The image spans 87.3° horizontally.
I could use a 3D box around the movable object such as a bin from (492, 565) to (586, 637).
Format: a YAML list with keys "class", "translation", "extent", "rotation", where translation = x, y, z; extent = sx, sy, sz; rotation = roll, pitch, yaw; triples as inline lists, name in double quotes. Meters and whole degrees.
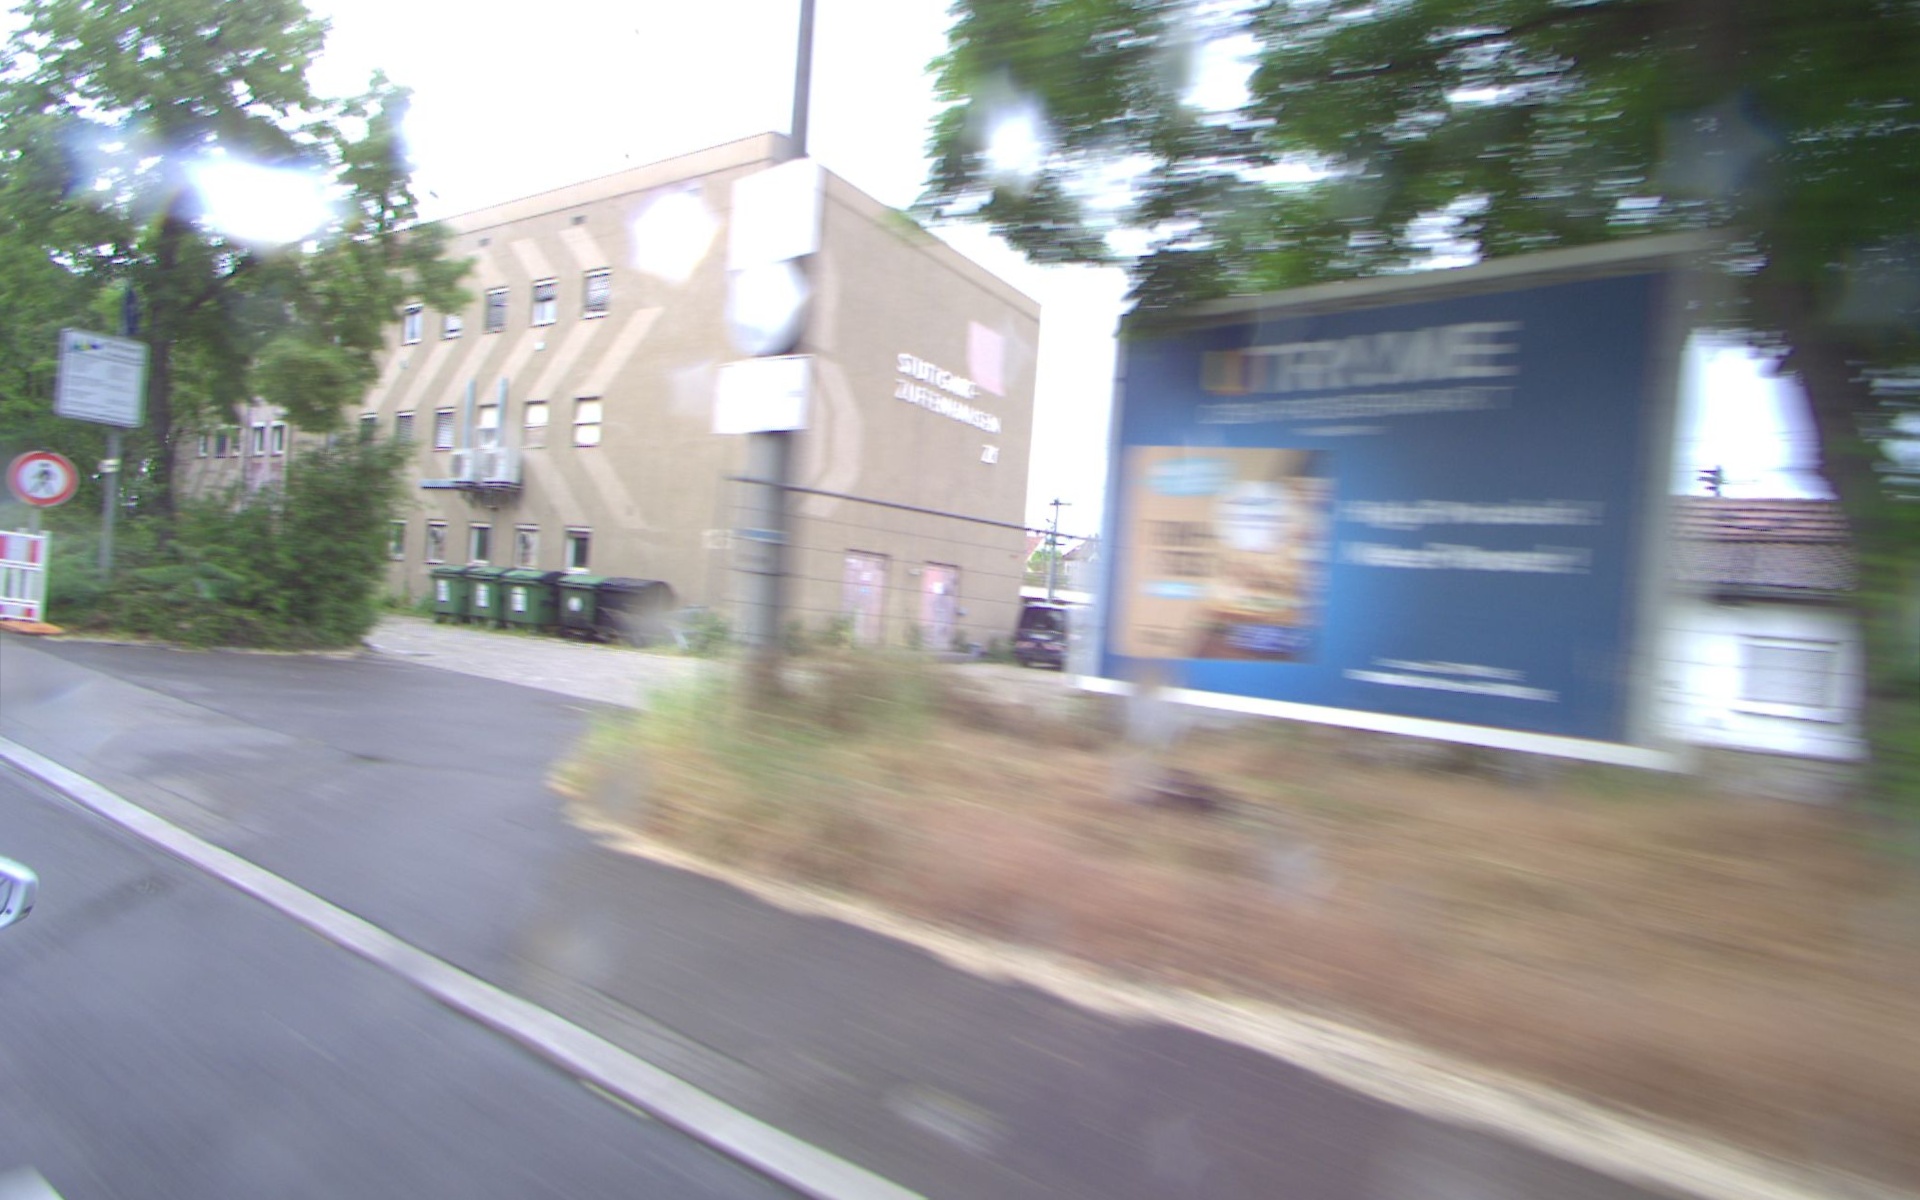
- class: "movable object such as a bin"
  translation: [-9.532, 0.028, 22.785]
  extent: [1.396, 1.434, 1.305]
  rotation: [7, 1, 34]

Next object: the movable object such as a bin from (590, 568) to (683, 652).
- class: "movable object such as a bin"
  translation: [-6.922, 0.217, 21.544]
  extent: [1.310, 1.607, 1.213]
  rotation: [7, 2, 34]

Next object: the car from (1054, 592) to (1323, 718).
- class: "car"
  translation: [4.304, 0.983, 19.255]
  extent: [4.577, 1.882, 1.783]
  rotation: [5, 0, 32]

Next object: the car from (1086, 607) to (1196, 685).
- class: "car"
  translation: [5.166, 1.300, 28.323]
  extent: [1.726, 1.846, 3.993]
  rotation: [7, 0, 29]

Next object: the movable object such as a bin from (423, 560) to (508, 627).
- class: "movable object such as a bin"
  translation: [-12.058, -0.153, 24.532]
  extent: [1.335, 1.434, 1.272]
  rotation: [7, 1, 34]

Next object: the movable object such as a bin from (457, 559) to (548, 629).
- class: "movable object such as a bin"
  translation: [-10.745, -0.128, 23.632]
  extent: [1.408, 1.434, 1.305]
  rotation: [7, 1, 34]

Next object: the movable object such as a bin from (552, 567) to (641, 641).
- class: "movable object such as a bin"
  translation: [-8.061, 0.095, 22.322]
  extent: [1.310, 1.434, 1.213]
  rotation: [7, 1, 34]

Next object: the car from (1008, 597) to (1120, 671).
- class: "car"
  translation: [3.091, 1.009, 29.129]
  extent: [1.726, 1.846, 3.804]
  rotation: [7, 1, 29]
